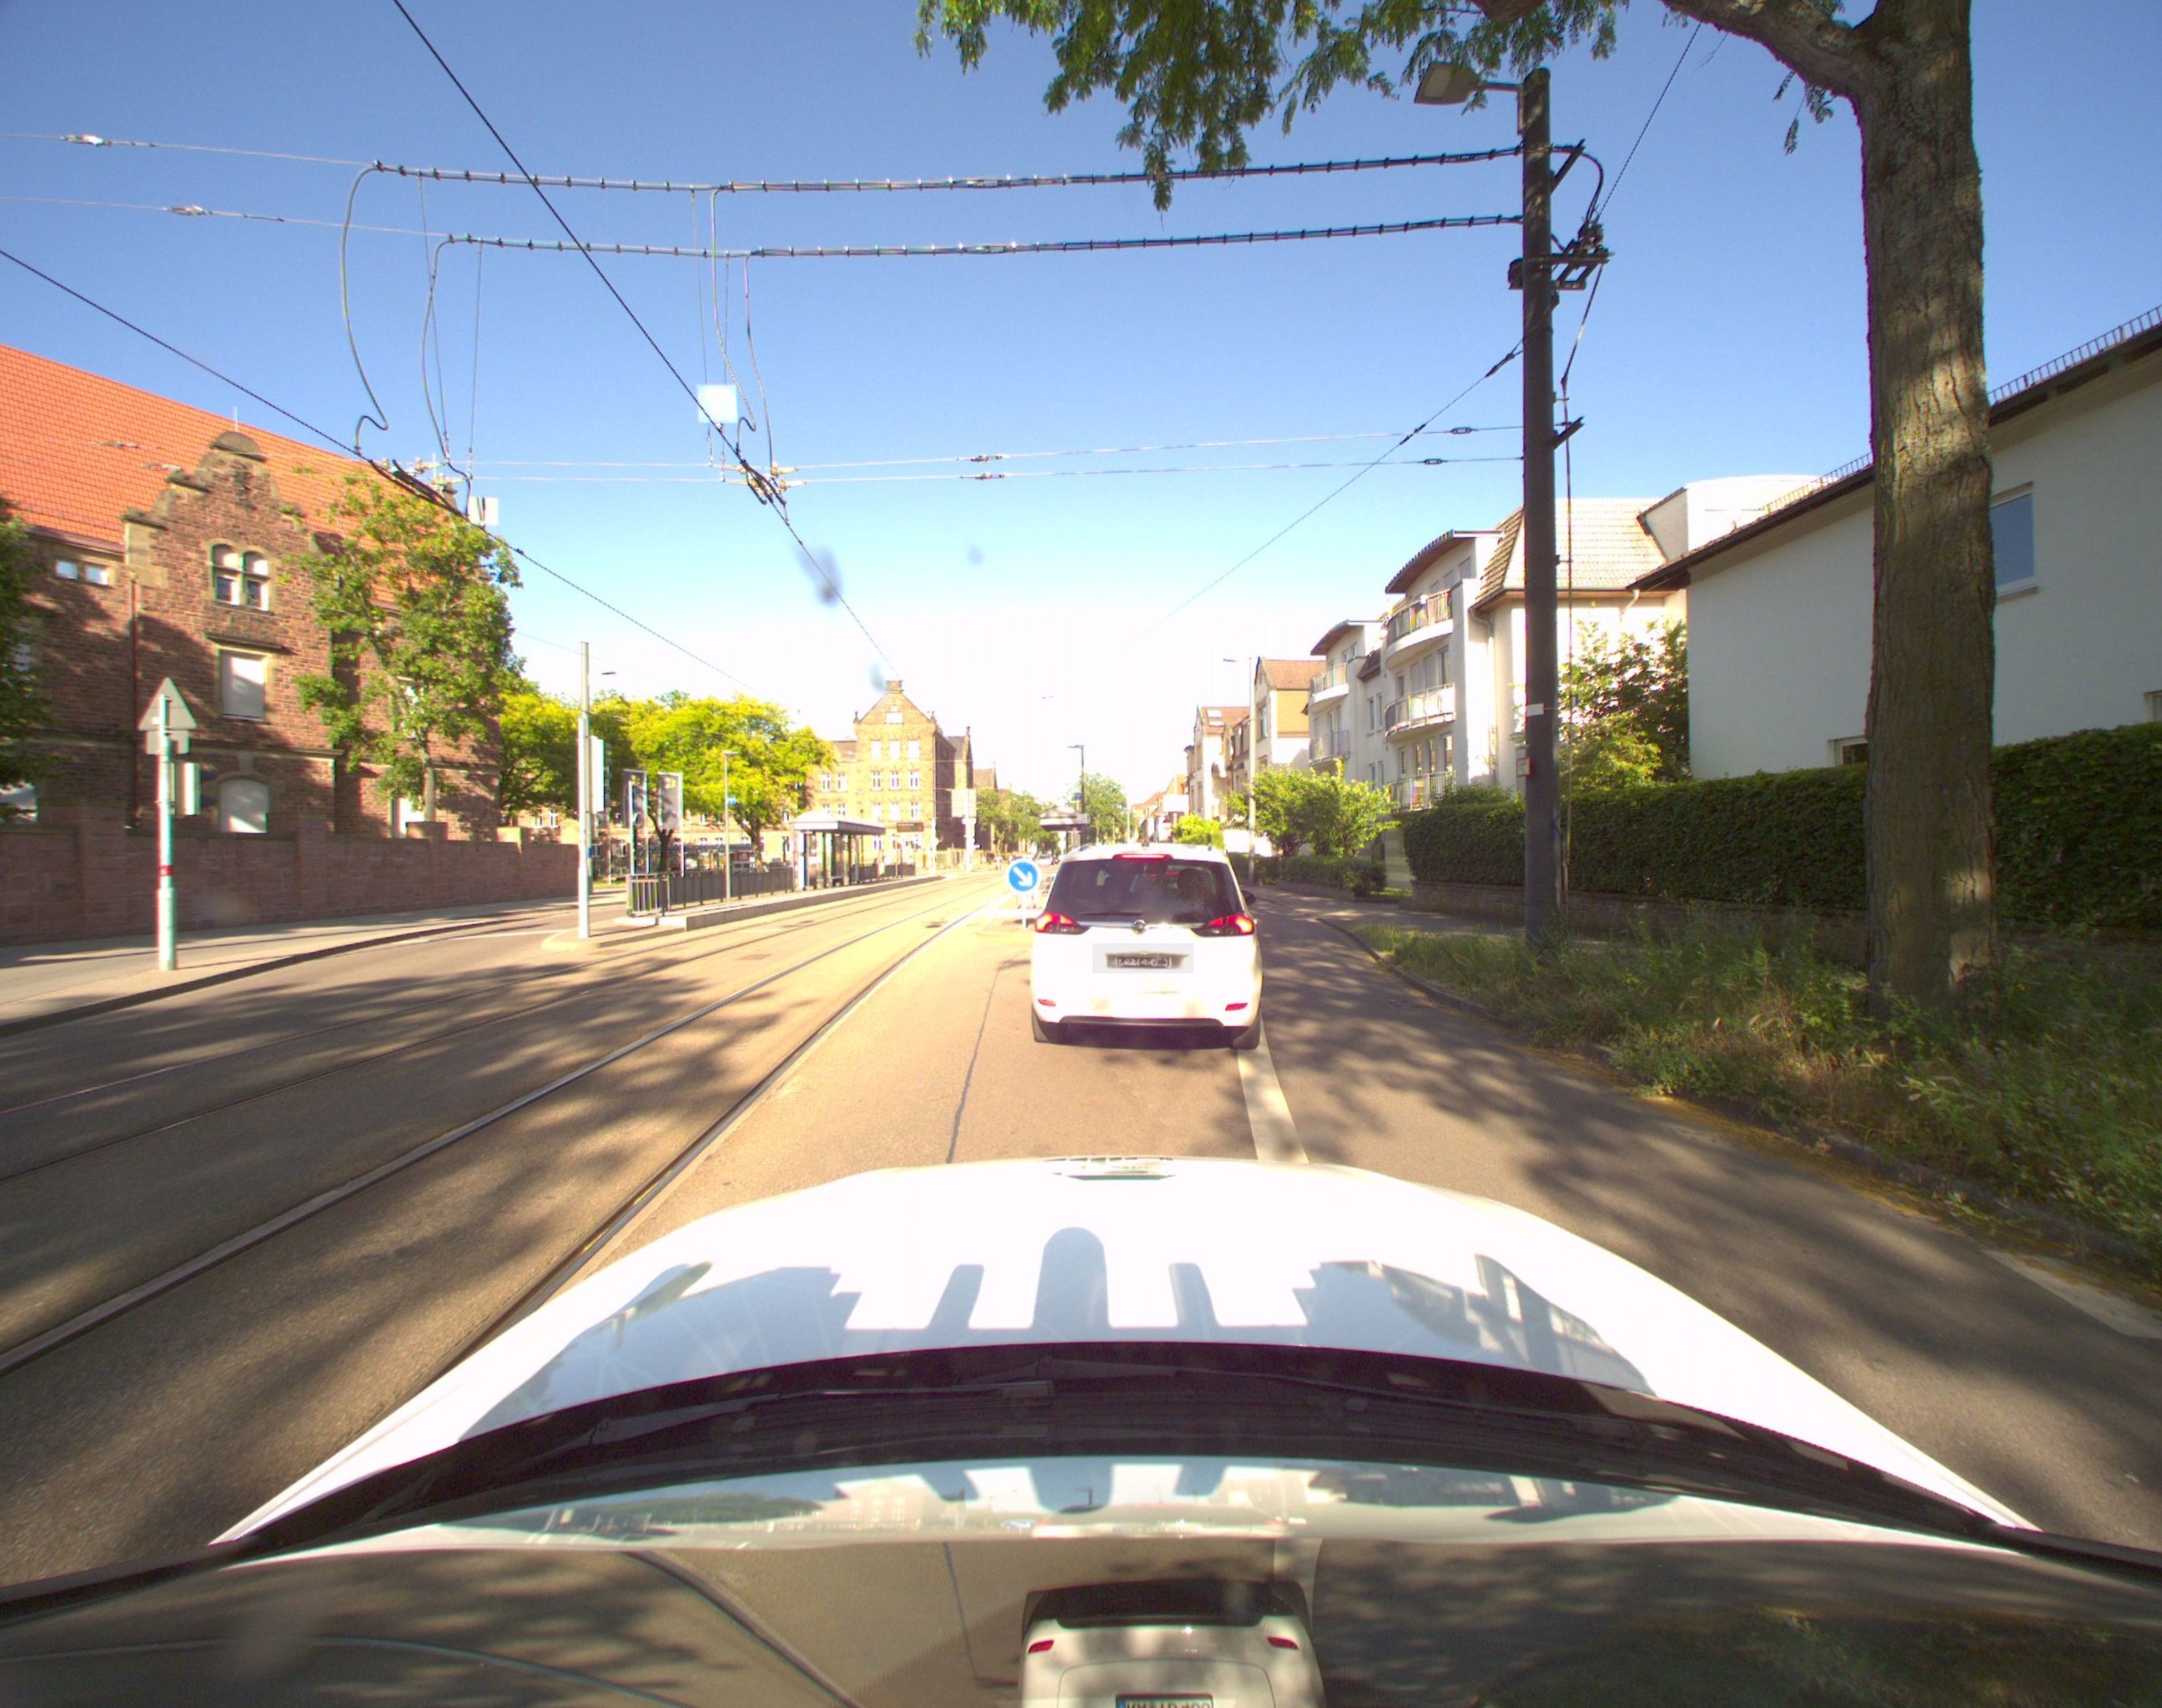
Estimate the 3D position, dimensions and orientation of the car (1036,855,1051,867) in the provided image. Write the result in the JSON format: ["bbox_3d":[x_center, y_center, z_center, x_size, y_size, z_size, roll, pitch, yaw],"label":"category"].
[{"bbox_3d":[-5.294,0.954,114.755,1.989,1.629,3.996,-1,0,-3],"label":"car"}]

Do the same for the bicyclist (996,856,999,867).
[{"bbox_3d":[-10.977,0.979,107.035,0.443,1.553,0.495,-1,0,-2],"label":"bicyclist"}]

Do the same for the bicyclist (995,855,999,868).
[{"bbox_3d":[-10.705,0.950,103.745,0.443,1.553,0.742,-1,0,-2],"label":"bicyclist"}]

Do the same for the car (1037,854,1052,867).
[{"bbox_3d":[-4.813,0.893,107.632,1.989,1.629,3.996,-1,0,-3],"label":"car"}]

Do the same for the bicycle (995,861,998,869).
[{"bbox_3d":[-10.712,1.416,103.534,0.343,0.950,1.160,0,-1,-1],"label":"bicycle"}]

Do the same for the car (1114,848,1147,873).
[{"bbox_3d":[3.100,0.386,51.853,1.986,1.503,4.002,-1,0,2],"label":"car"}]

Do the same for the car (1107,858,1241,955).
[{"bbox_3d":[1.528,0.792,14.075,1.944,1.397,4.005,-1,0,4],"label":"car"}]

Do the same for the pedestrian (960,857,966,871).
[{"bbox_3d":[-14.685,1.236,101.506,0.733,1.714,0.705,0,-1,-3],"label":"pedestrian"}]

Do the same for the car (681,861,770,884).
[{"bbox_3d":[-32.960,1.701,75.712,6.926,1.921,2.992,-1,0,0],"label":"car"}]

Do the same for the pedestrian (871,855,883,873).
[{"bbox_3d":[-19.488,0.920,77.810,0.839,1.691,1.029,0,-1,1],"label":"pedestrian"}]

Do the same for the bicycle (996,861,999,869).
[{"bbox_3d":[-11.001,1.447,107.077,0.343,0.950,0.996,0,-1,-1],"label":"bicycle"}]

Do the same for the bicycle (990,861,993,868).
[{"bbox_3d":[-12.675,1.528,115.647,0.343,0.950,0.996,0,-1,-1],"label":"bicycle"}]

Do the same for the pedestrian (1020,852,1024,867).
[{"bbox_3d":[-8.154,0.774,112.659,0.443,2.013,0.495,-1,0,-2],"label":"pedestrian"}]

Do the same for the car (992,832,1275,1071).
[{"bbox_3d":[0.640,0.685,7.714,1.982,1.644,4.003,0,0,8],"label":"car"}]

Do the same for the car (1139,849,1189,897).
[{"bbox_3d":[2.941,0.636,29.330,1.630,1.601,3.859,-1,0,4],"label":"car"}]

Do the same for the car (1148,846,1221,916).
[{"bbox_3d":[2.570,0.639,20.904,1.630,1.601,3.859,-1,0,4],"label":"car"}]

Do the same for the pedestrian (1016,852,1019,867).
[{"bbox_3d":[-8.766,0.776,112.381,0.443,2.013,0.495,-1,0,-2],"label":"pedestrian"}]

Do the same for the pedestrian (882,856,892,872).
[{"bbox_3d":[-19.208,0.973,80.660,0.799,1.588,0.934,0,-1,0],"label":"pedestrian"}]

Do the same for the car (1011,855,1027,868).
[{"bbox_3d":[-8.189,0.925,107.491,1.989,1.629,3.996,-1,0,-3],"label":"car"}]

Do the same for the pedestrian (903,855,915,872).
[{"bbox_3d":[-16.780,0.905,79.356,0.892,1.684,1.029,0,-1,1],"label":"pedestrian"}]

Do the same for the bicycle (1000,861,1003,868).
[{"bbox_3d":[-10.658,1.465,109.619,0.343,0.950,0.996,0,-1,-1],"label":"bicycle"}]

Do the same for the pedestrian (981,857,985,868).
[{"bbox_3d":[-15.592,1.330,129.564,0.733,1.714,0.753,0,-1,-4],"label":"pedestrian"}]

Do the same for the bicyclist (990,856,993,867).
[{"bbox_3d":[-12.681,1.060,115.613,0.443,1.553,0.495,-1,0,-2],"label":"bicyclist"}]

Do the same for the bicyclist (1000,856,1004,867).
[{"bbox_3d":[-10.659,0.998,109.614,0.443,1.553,0.495,-1,0,-2],"label":"bicyclist"}]

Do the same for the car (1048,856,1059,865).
[{"bbox_3d":[-5.038,1.153,148.162,1.989,1.629,3.984,-1,0,-3],"label":"car"}]

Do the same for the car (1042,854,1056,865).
[{"bbox_3d":[-5.126,0.910,131.109,1.987,1.629,4.000,-1,0,0],"label":"car"}]

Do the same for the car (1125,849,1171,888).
[{"bbox_3d":[2.928,0.612,36.260,1.824,1.579,4.012,-1,0,2],"label":"car"}]
